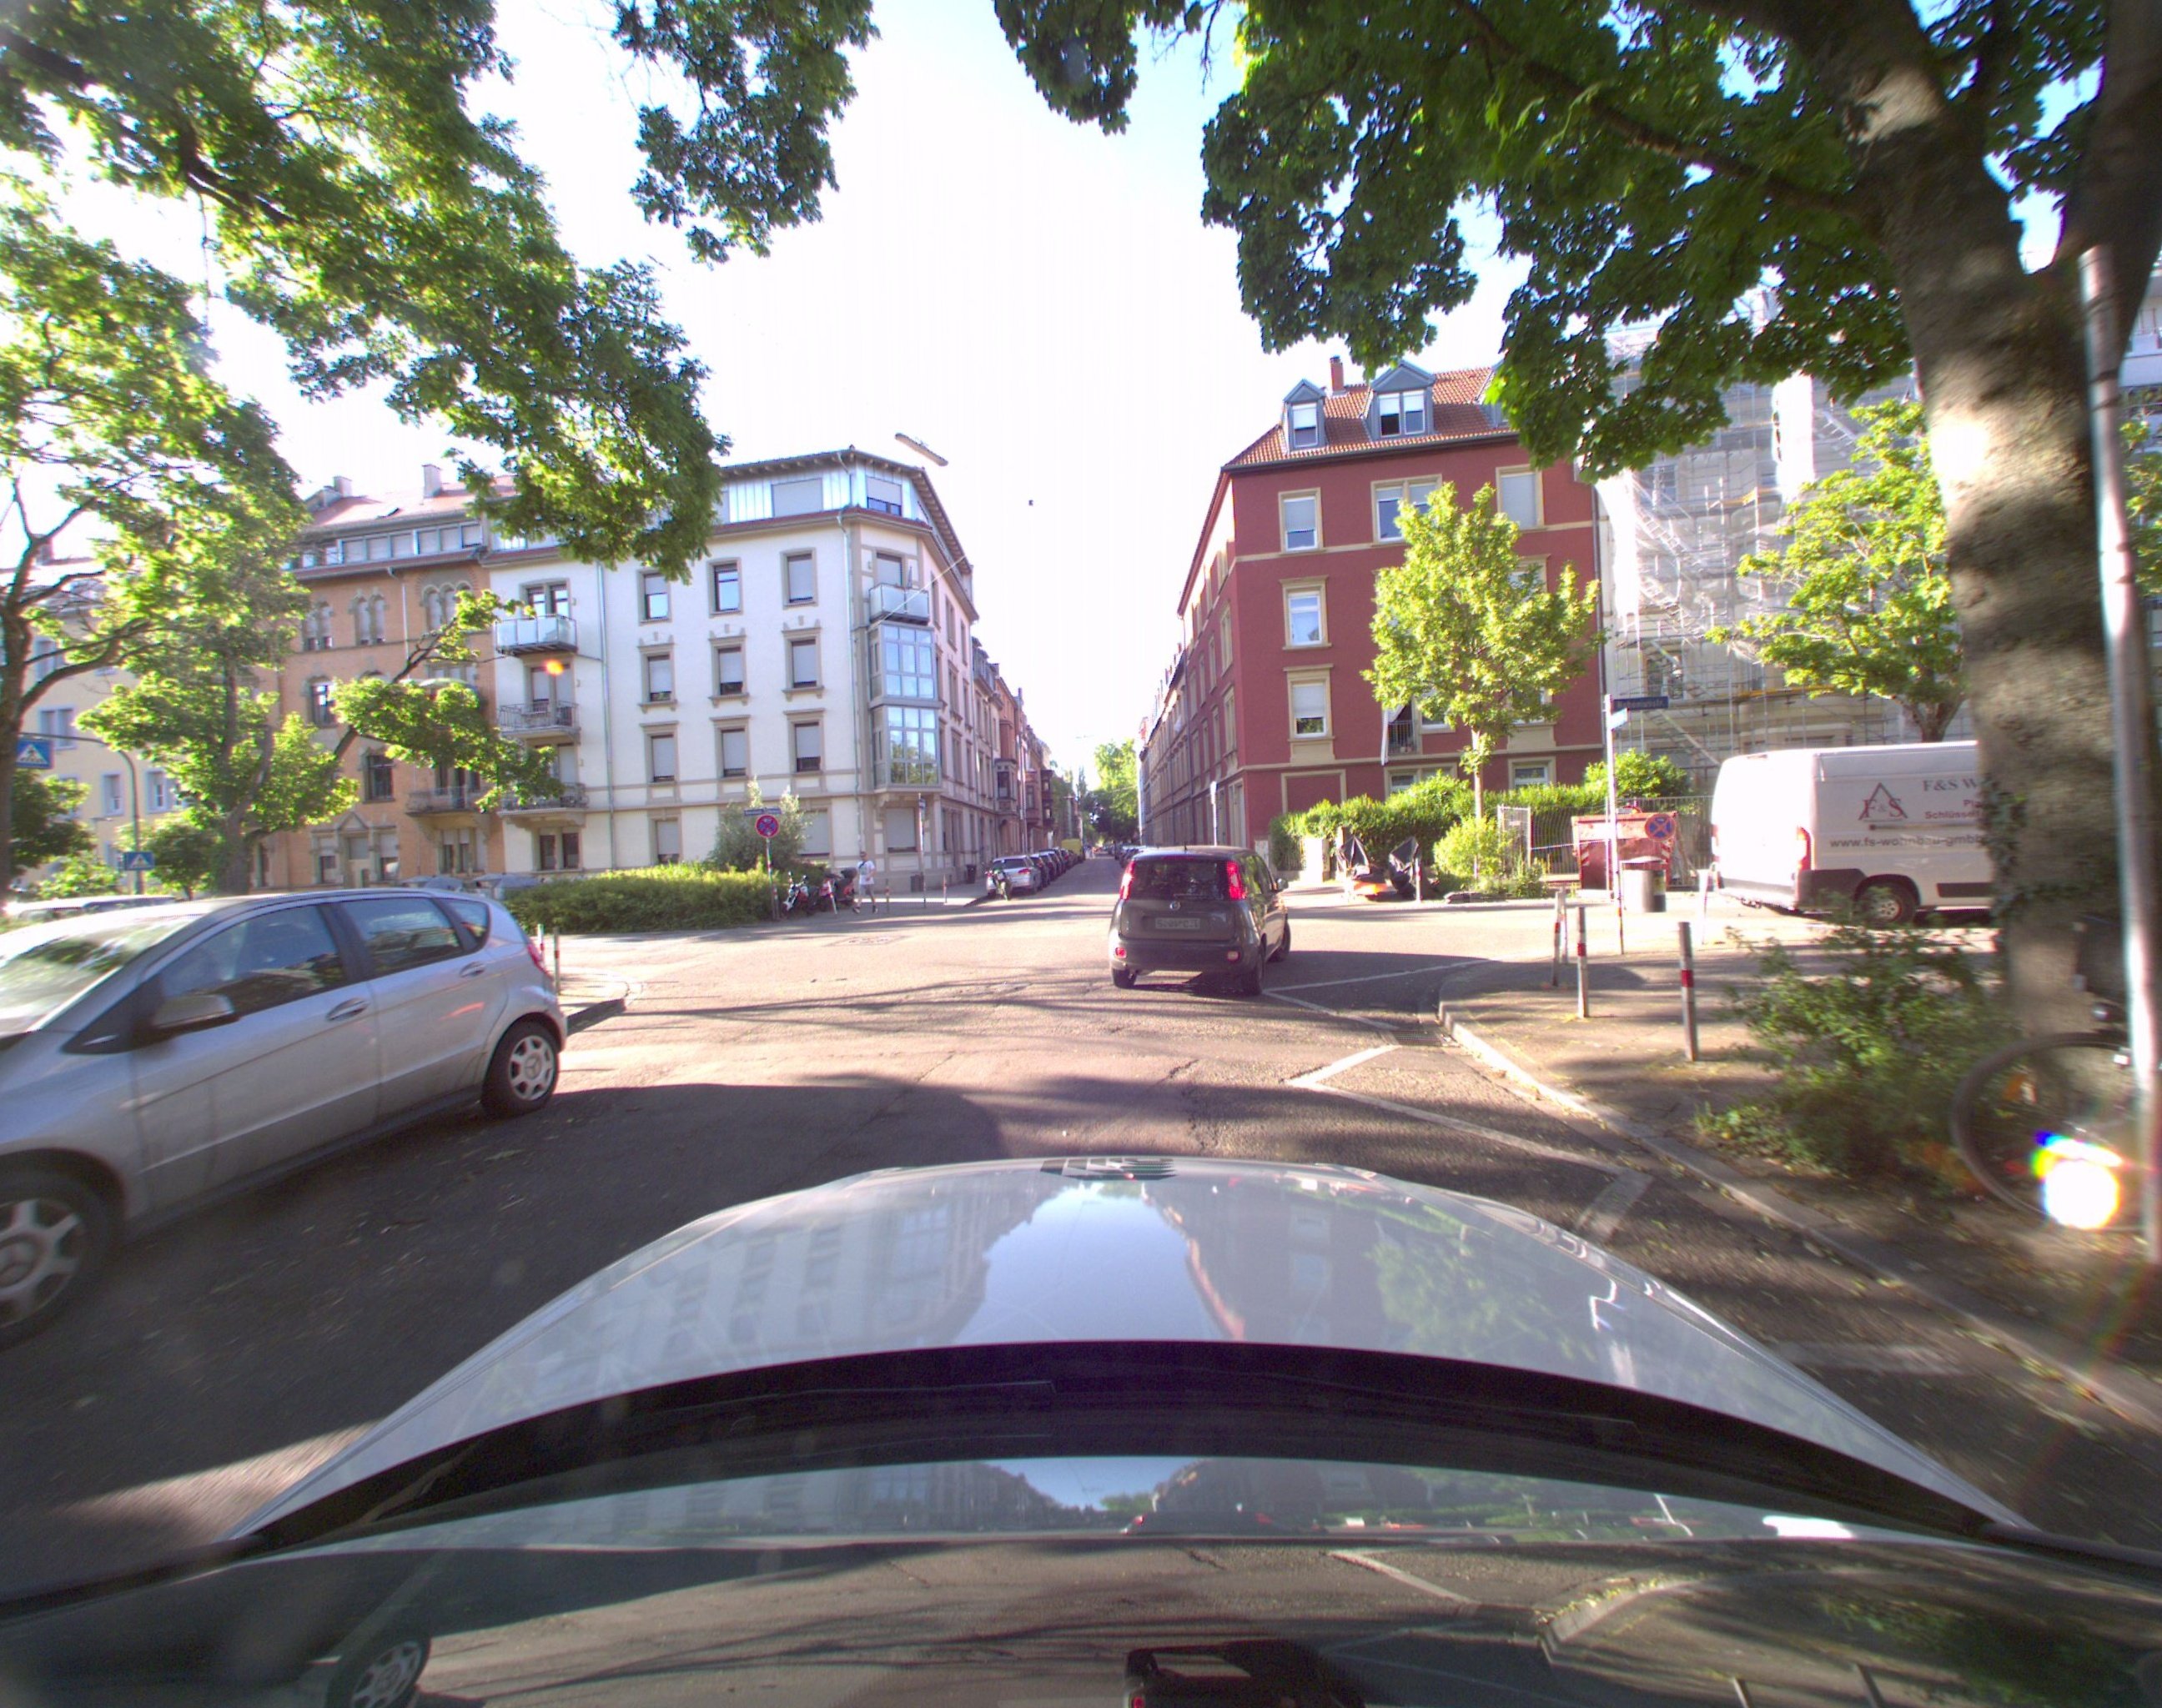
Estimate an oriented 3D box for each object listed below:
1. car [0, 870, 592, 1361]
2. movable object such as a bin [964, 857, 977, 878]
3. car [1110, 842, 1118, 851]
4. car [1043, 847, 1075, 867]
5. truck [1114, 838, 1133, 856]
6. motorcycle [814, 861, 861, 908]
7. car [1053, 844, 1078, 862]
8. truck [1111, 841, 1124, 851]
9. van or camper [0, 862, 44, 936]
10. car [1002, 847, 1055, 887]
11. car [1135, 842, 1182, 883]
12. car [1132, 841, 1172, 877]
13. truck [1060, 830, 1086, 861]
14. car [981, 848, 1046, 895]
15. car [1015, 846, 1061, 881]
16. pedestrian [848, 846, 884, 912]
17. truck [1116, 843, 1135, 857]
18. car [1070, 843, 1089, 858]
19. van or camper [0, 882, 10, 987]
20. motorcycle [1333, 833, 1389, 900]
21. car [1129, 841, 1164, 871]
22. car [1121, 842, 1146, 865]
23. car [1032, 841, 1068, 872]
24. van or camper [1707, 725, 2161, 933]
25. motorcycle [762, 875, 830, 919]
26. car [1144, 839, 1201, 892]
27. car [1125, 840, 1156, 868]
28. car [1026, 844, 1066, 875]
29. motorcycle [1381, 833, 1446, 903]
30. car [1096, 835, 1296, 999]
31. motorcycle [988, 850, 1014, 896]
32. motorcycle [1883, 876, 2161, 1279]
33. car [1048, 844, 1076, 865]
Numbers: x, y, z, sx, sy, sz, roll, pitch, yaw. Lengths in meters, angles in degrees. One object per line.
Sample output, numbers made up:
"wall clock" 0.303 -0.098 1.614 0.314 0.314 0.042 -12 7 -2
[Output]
"car" -4.533 1.006 3.989 1.690 1.550 3.920 -6 1 1
"movable object such as a bin" -5.221 0.649 38.615 0.510 0.952 0.501 -3 1 -1
"car" 6.217 -1.359 152.099 1.362 1.618 3.416 -3 1 3
"car" -1.619 0.229 61.520 1.954 1.224 3.928 -6 1 3
"truck" 5.040 -0.891 96.868 1.986 1.991 4.002 -3 1 2
"motorcycle" -7.235 0.902 24.301 0.514 1.294 1.619 -1 1 16
"car" -1.411 -0.125 76.185 1.954 1.479 3.928 -6 1 3
"truck" 5.803 -1.347 131.065 1.986 1.456 4.002 -3 1 2
"van or camper" -40.022 1.705 28.005 1.982 2.636 4.935 -3 1 9
"car" -2.237 0.523 35.751 1.770 1.412 3.928 -6 1 3
"car" 3.064 0.297 32.590 1.656 1.505 3.760 -2 1 3
"car" 3.194 0.187 37.189 1.656 1.505 3.760 -2 1 3
"truck" -0.814 -0.873 83.271 2.062 2.925 5.071 -7 1 3
"car" -2.453 0.589 30.666 1.790 1.431 3.928 -6 1 3
"car" -2.156 0.456 41.970 1.818 1.467 3.928 -6 1 3
"pedestrian" -6.099 0.706 23.118 0.718 1.839 0.629 -2 1 13
"truck" 4.932 -0.495 91.490 1.986 1.456 4.002 -3 1 2
"car" -0.107 -0.432 98.537 1.954 1.479 3.928 -6 1 3
"van or camper" -23.136 1.671 15.200 4.352 2.013 1.775 -3 1 7
"motorcycle" 6.667 0.258 19.488 1.012 1.404 2.201 -3 3 14
"car" 3.466 0.067 43.589 1.656 1.505 3.760 -2 1 3
"car" 3.688 -0.083 57.270 1.656 1.505 3.760 -2 1 3
"car" -1.948 0.125 52.229 1.768 1.698 3.928 -6 1 3
"van or camper" 12.384 -0.363 11.238 5.552 2.444 2.152 -3 3 11
"motorcycle" -7.659 1.132 21.957 0.683 0.985 1.831 2 2 22
"car" 3.087 0.337 28.093 1.656 1.669 3.760 -2 1 3
"car" 3.484 -0.024 48.181 1.656 1.532 3.760 -2 1 3
"car" -1.964 0.278 47.070 1.821 1.479 3.928 -6 1 3
"motorcycle" 7.629 0.274 18.820 0.821 1.404 2.564 -3 2 10
"car" 1.515 0.574 9.639 1.619 1.550 3.282 0 2 21
"motorcycle" -2.695 0.619 27.371 0.696 1.460 1.746 -4 1 -8
"motorcycle" 4.048 0.715 2.758 1.836 1.266 0.507 -4 1 16
"car" -1.568 -0.004 69.175 1.954 1.479 3.928 -6 1 3
